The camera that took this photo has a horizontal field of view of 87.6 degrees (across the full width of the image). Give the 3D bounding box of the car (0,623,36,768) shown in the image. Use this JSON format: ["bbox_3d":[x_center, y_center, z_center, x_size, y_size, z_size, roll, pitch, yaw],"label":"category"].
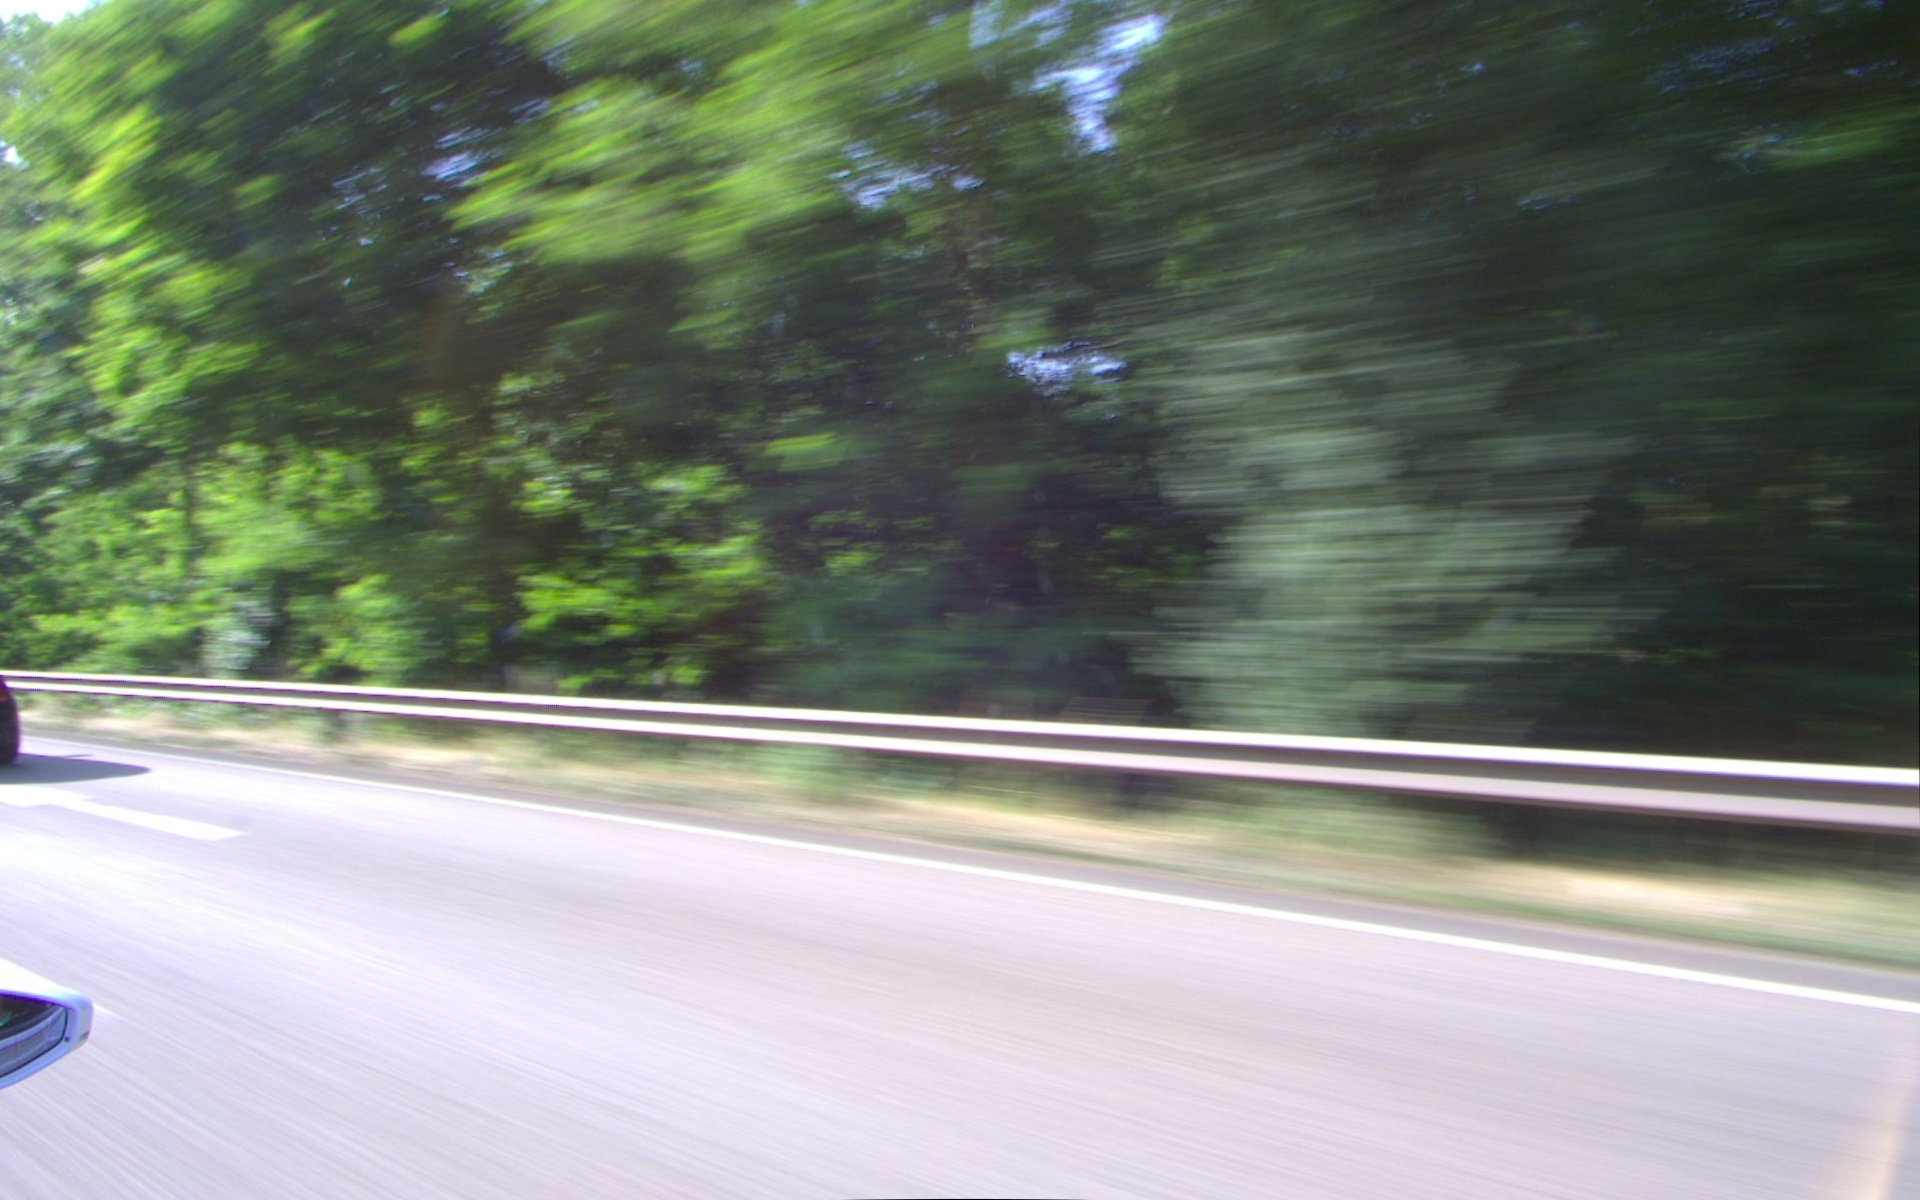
[{"bbox_3d":[-11.816,0.983,10.800,3.818,1.486,1.816,-1,-2,33],"label":"car"}]
